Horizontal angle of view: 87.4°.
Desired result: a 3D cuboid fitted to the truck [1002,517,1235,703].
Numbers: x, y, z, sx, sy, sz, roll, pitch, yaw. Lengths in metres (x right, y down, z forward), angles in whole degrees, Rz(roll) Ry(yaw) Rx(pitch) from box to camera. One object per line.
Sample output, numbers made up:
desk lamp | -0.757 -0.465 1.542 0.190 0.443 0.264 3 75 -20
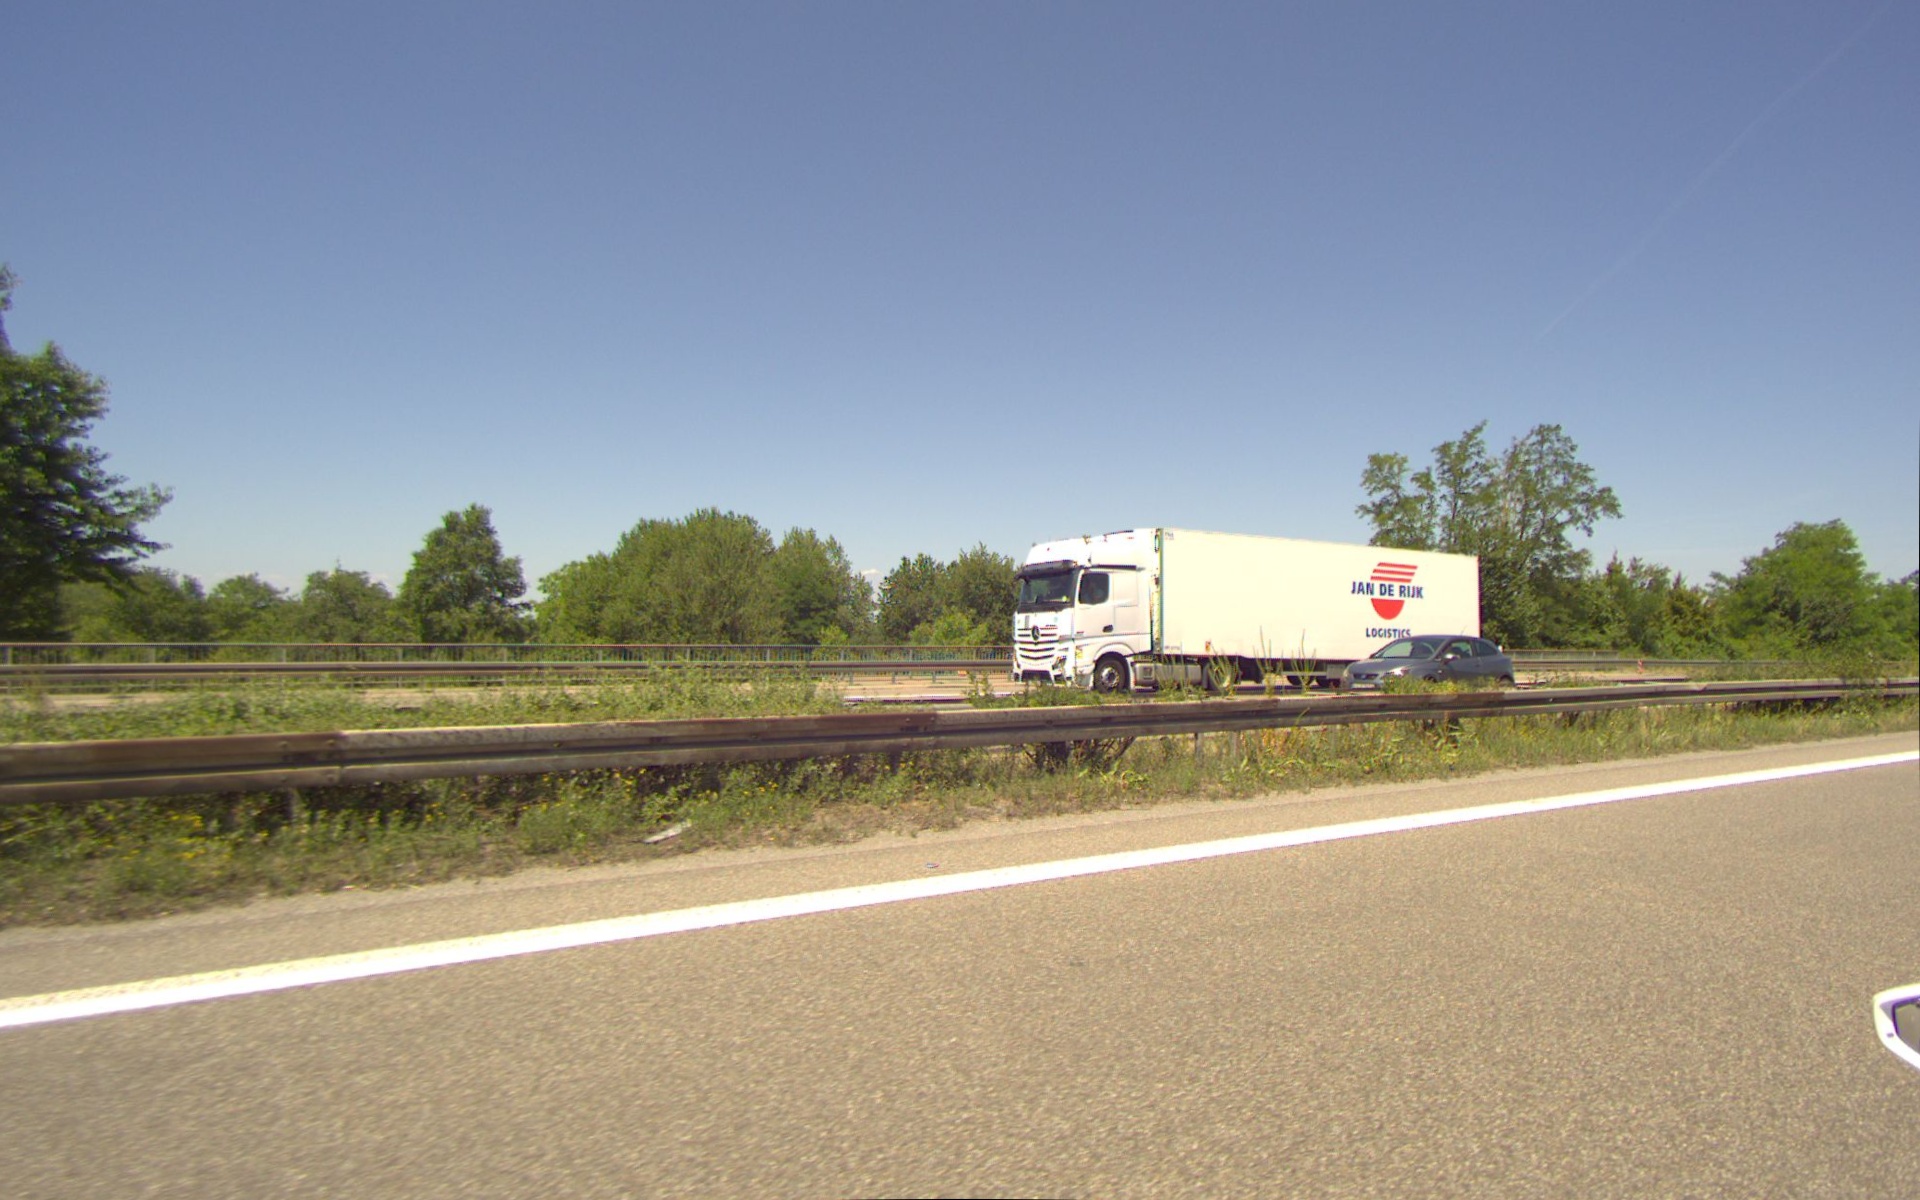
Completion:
truck | 4.050 0.288 25.519 5.235 4.263 2.729 2 0 -31

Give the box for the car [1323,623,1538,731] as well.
car | 9.343 1.448 19.897 3.953 1.916 1.984 2 -2 -30

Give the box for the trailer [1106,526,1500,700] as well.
trailer | 10.553 0.504 29.489 13.791 4.263 2.729 2 0 -32
